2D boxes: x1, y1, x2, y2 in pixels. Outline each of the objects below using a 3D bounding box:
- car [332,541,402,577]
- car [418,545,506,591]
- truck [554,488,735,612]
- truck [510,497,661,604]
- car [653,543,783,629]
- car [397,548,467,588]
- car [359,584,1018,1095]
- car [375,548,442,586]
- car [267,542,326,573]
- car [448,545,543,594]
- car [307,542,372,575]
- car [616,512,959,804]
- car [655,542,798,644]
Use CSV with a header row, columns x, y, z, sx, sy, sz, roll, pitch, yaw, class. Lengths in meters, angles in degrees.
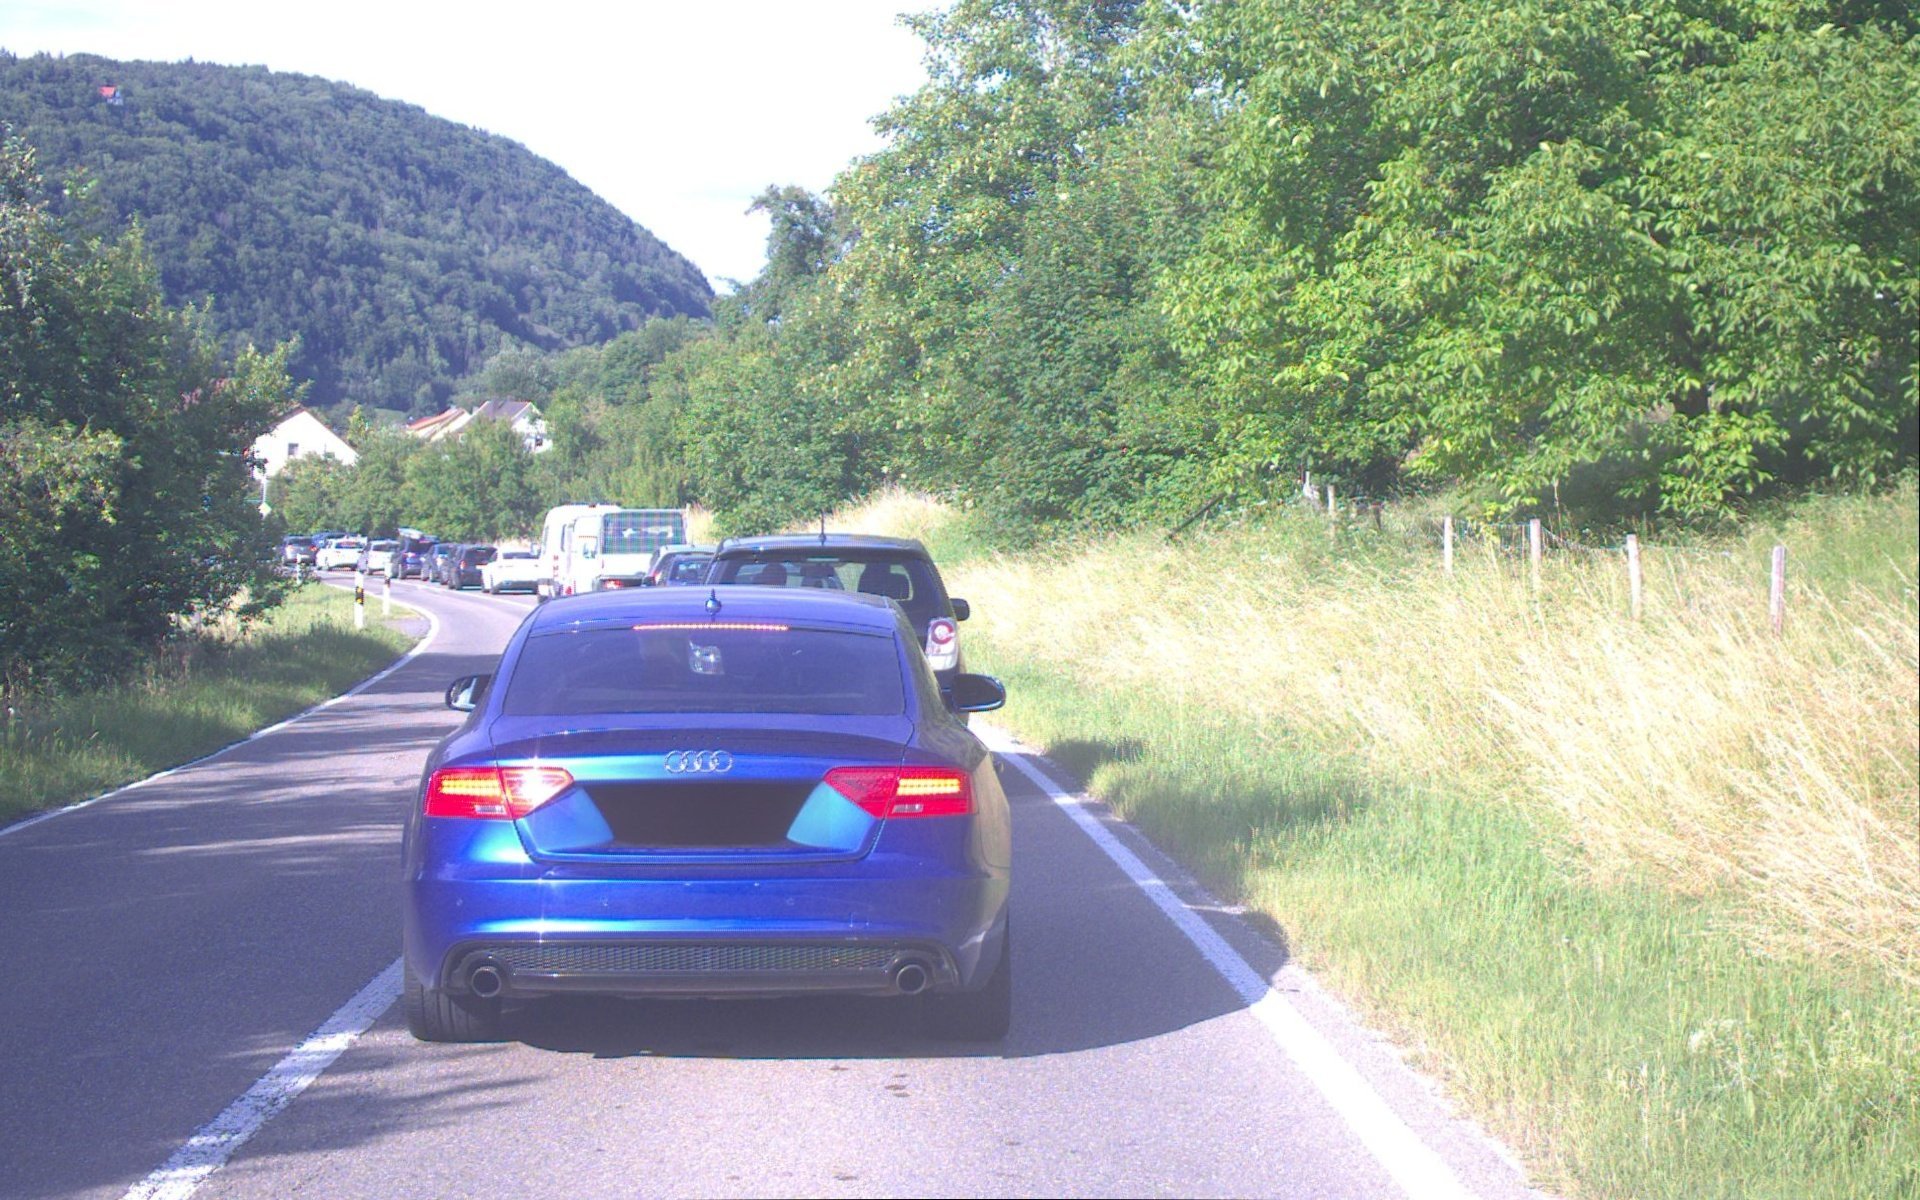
x,y,z,sx,sy,sz,roll,pitch,yaw,class
-24.871,-1.731,144.118,1.993,1.477,4.001,0,0,-24,car
-16.555,-1.058,114.218,1.993,1.477,4.001,0,0,-22,car
-7.405,-1.153,79.335,2.863,2.656,10.396,0,1,-12,truck
-10.104,-1.315,91.671,2.863,2.656,10.648,0,1,-12,truck
-4.398,-0.262,62.022,1.993,1.477,4.001,0,0,-9,car
-19.835,-1.205,128.988,1.993,1.477,4.001,0,0,-18,car
-0.766,0.644,11.389,1.793,1.355,4.000,0,1,-1,car
-21.701,-1.290,135.144,1.993,1.477,4.001,0,0,-18,car
-32.562,-2.062,168.609,1.993,1.477,4.001,0,0,-24,car
-14.450,-0.943,106.885,1.993,1.477,4.001,0,0,-22,car
-28.087,-1.886,155.627,1.993,1.477,4.001,0,0,-24,car
-1.068,0.329,22.175,1.993,1.696,4.000,1,0,-2,car
-3.500,-0.118,52.080,1.993,1.477,4.000,1,0,-2,car
